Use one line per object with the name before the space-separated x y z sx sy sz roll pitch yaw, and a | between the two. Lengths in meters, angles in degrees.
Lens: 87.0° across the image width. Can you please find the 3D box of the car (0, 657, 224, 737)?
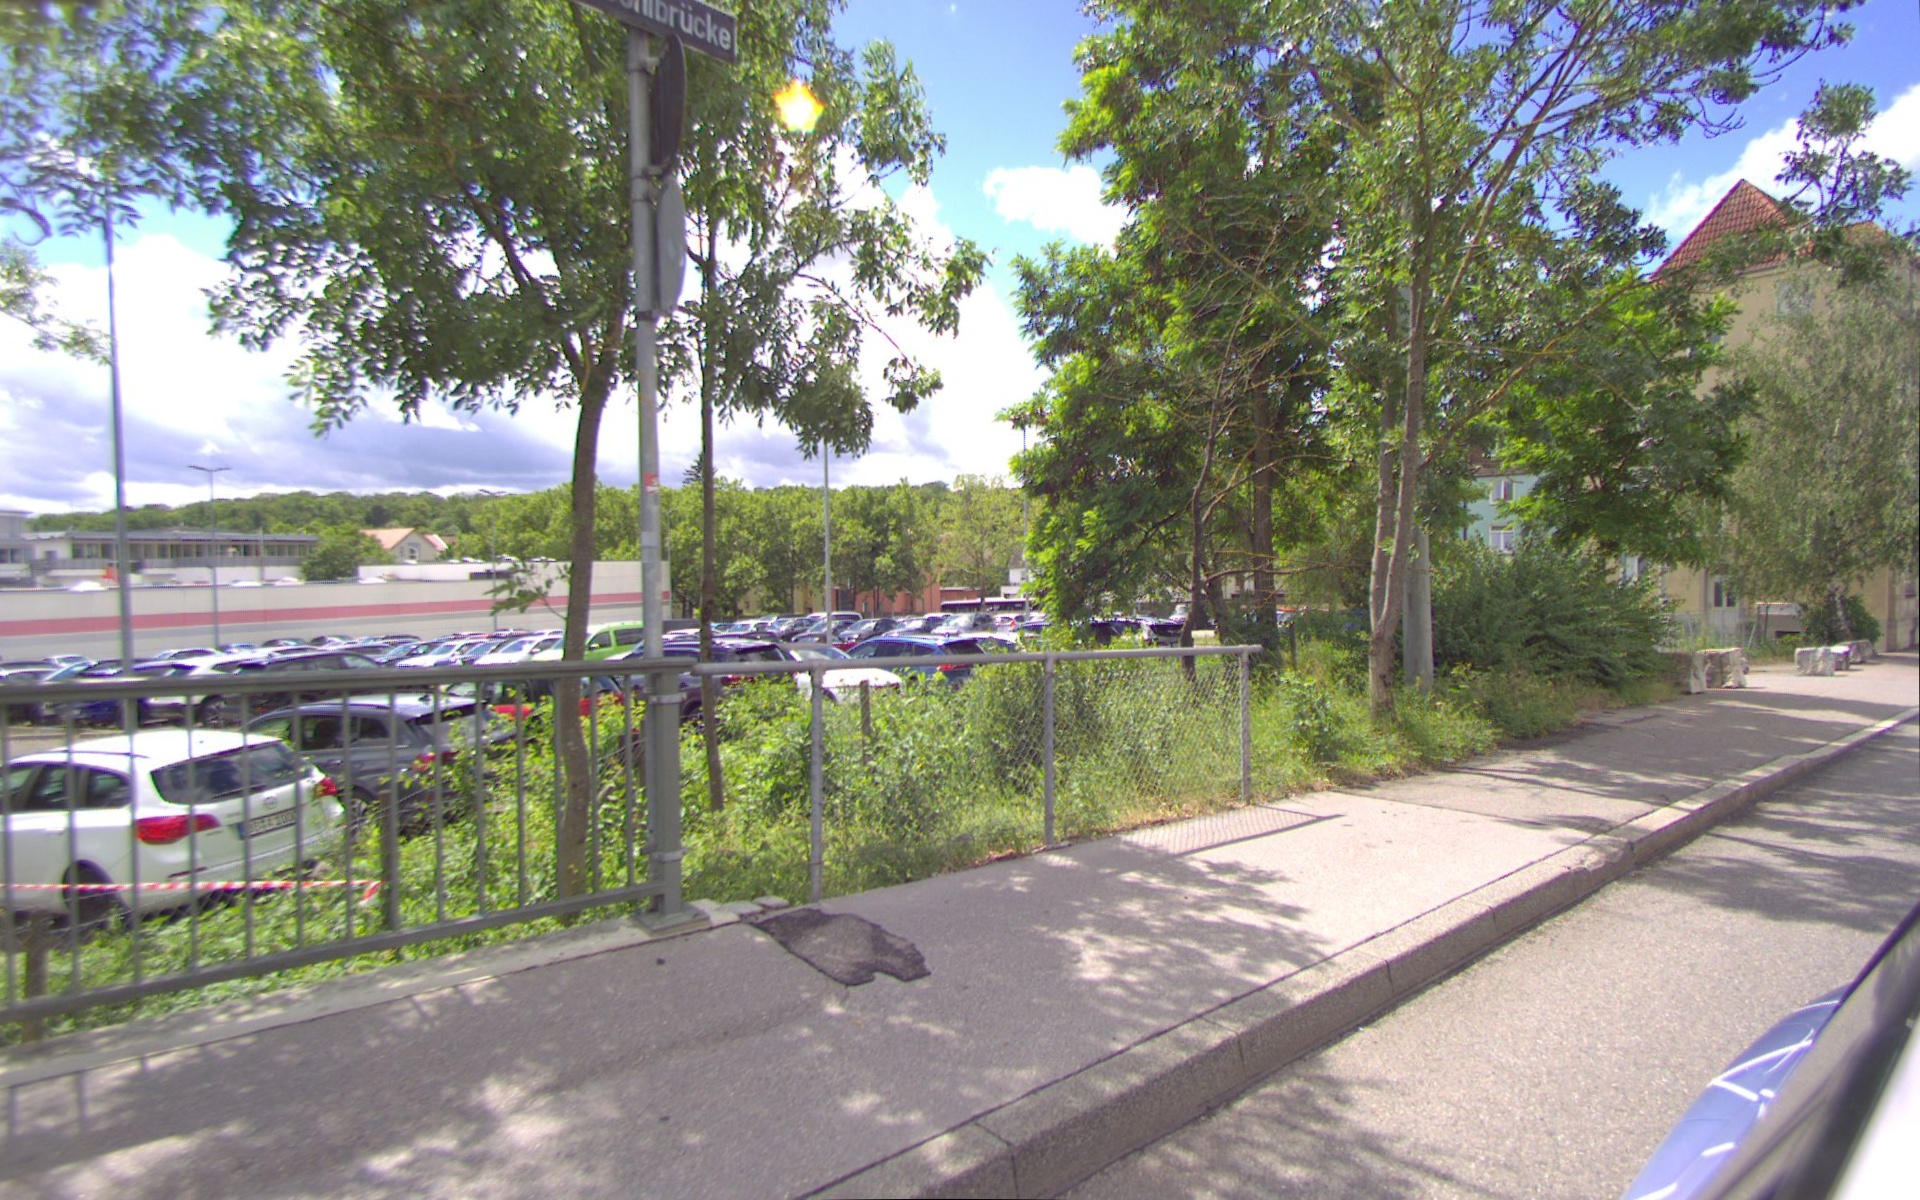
car | -21.744 2.400 26.069 1.889 1.482 4.163 1 2 24

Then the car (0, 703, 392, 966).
car | -7.569 1.909 9.122 4.293 1.690 1.861 -1 1 19

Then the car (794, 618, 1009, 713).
car | -1.284 1.269 21.090 4.326 1.690 1.847 -1 1 38

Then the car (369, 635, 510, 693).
car | -19.240 2.307 37.667 1.889 1.725 4.524 1 2 24

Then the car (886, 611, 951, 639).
car | -2.120 1.290 52.713 1.852 1.280 3.686 -1 1 25

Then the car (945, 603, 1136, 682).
car | 1.914 0.979 24.733 4.326 1.690 1.847 -1 1 38

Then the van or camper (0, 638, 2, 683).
van or camper | -48.664 2.795 48.761 5.249 2.726 1.911 -4 -1 27

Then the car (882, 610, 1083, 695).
car | 0.456 1.121 23.078 4.326 1.690 1.847 -1 1 38

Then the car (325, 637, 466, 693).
car | -21.633 2.434 38.992 1.889 1.725 4.524 1 2 24

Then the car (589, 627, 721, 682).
car | -9.742 1.732 32.621 1.706 1.408 3.959 -4 0 30

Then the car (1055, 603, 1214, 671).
car | 4.437 0.961 26.317 1.743 1.505 4.000 -4 0 -33

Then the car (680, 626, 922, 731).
car | -3.032 1.395 19.106 4.314 1.690 1.852 -1 1 31

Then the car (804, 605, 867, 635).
car | -6.878 1.093 56.243 1.850 1.466 3.690 -1 1 23

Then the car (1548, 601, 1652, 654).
car | 21.134 0.897 33.360 4.072 1.408 1.718 -4 0 -40

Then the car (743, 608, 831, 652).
car | -8.468 1.447 49.900 1.979 1.808 4.406 -4 0 26

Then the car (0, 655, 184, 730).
car | -23.754 2.410 27.245 1.889 1.482 4.163 1 2 24

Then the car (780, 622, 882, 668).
car | -4.524 1.575 36.030 1.490 1.278 3.959 -4 0 30

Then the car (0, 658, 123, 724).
car | -26.789 2.605 28.814 1.889 1.482 4.163 1 2 24

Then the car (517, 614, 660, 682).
car | -12.391 1.567 34.104 1.702 1.898 4.610 -4 0 24

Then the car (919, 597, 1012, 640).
car | 0.297 0.783 44.996 1.862 1.690 4.291 -1 1 39

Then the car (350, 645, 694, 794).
car | -6.054 1.552 14.031 4.296 1.690 1.860 -1 1 21

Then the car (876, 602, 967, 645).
car | -1.715 1.034 46.192 1.861 1.690 4.294 -1 1 37

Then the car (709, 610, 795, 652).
car | -10.577 1.538 51.891 1.979 1.808 4.406 -4 0 26

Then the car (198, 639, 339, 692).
car | -28.401 2.628 41.759 1.889 1.725 4.524 1 2 24

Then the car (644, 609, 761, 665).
car | -9.891 1.396 39.208 1.979 1.808 4.406 -4 0 26

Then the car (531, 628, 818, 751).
car | -4.636 1.364 16.418 4.304 1.690 1.856 -1 1 25

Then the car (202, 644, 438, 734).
car | -14.186 1.901 22.705 1.889 1.482 4.163 1 2 24

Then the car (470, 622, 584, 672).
car | -19.123 2.044 44.905 1.979 1.808 4.406 -4 0 26

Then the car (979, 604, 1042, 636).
car | 2.526 0.963 50.092 1.852 1.404 3.686 -1 1 25

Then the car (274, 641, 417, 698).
car | -23.880 2.638 39.511 1.889 1.725 4.524 1 2 24

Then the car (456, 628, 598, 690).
car | -14.975 1.972 35.261 1.889 1.725 4.524 1 2 24

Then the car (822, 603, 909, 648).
car | -4.397 1.161 47.782 1.979 1.808 4.406 -4 0 26

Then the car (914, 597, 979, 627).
car | -0.846 0.761 65.000 1.862 1.690 4.291 -1 1 39

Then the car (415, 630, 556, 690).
car | -17.024 2.088 36.536 1.889 1.725 4.524 1 2 24

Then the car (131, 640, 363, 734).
car | -16.793 1.960 24.076 1.889 1.690 4.163 1 2 24

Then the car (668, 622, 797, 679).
car | -7.061 1.544 31.786 1.706 1.408 3.959 -4 0 30

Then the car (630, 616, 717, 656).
car | -15.240 1.887 54.130 1.979 1.808 4.406 -4 0 26

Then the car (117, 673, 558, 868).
car | -6.886 1.744 11.265 4.293 1.690 1.861 -1 1 19

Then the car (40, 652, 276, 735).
car | -19.512 2.202 24.839 1.889 1.482 4.163 1 2 24

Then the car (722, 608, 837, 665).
car | -6.696 1.330 37.999 1.979 1.785 4.406 -4 0 26

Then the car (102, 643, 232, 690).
car | -37.409 3.090 47.896 1.889 1.725 4.524 1 2 24
